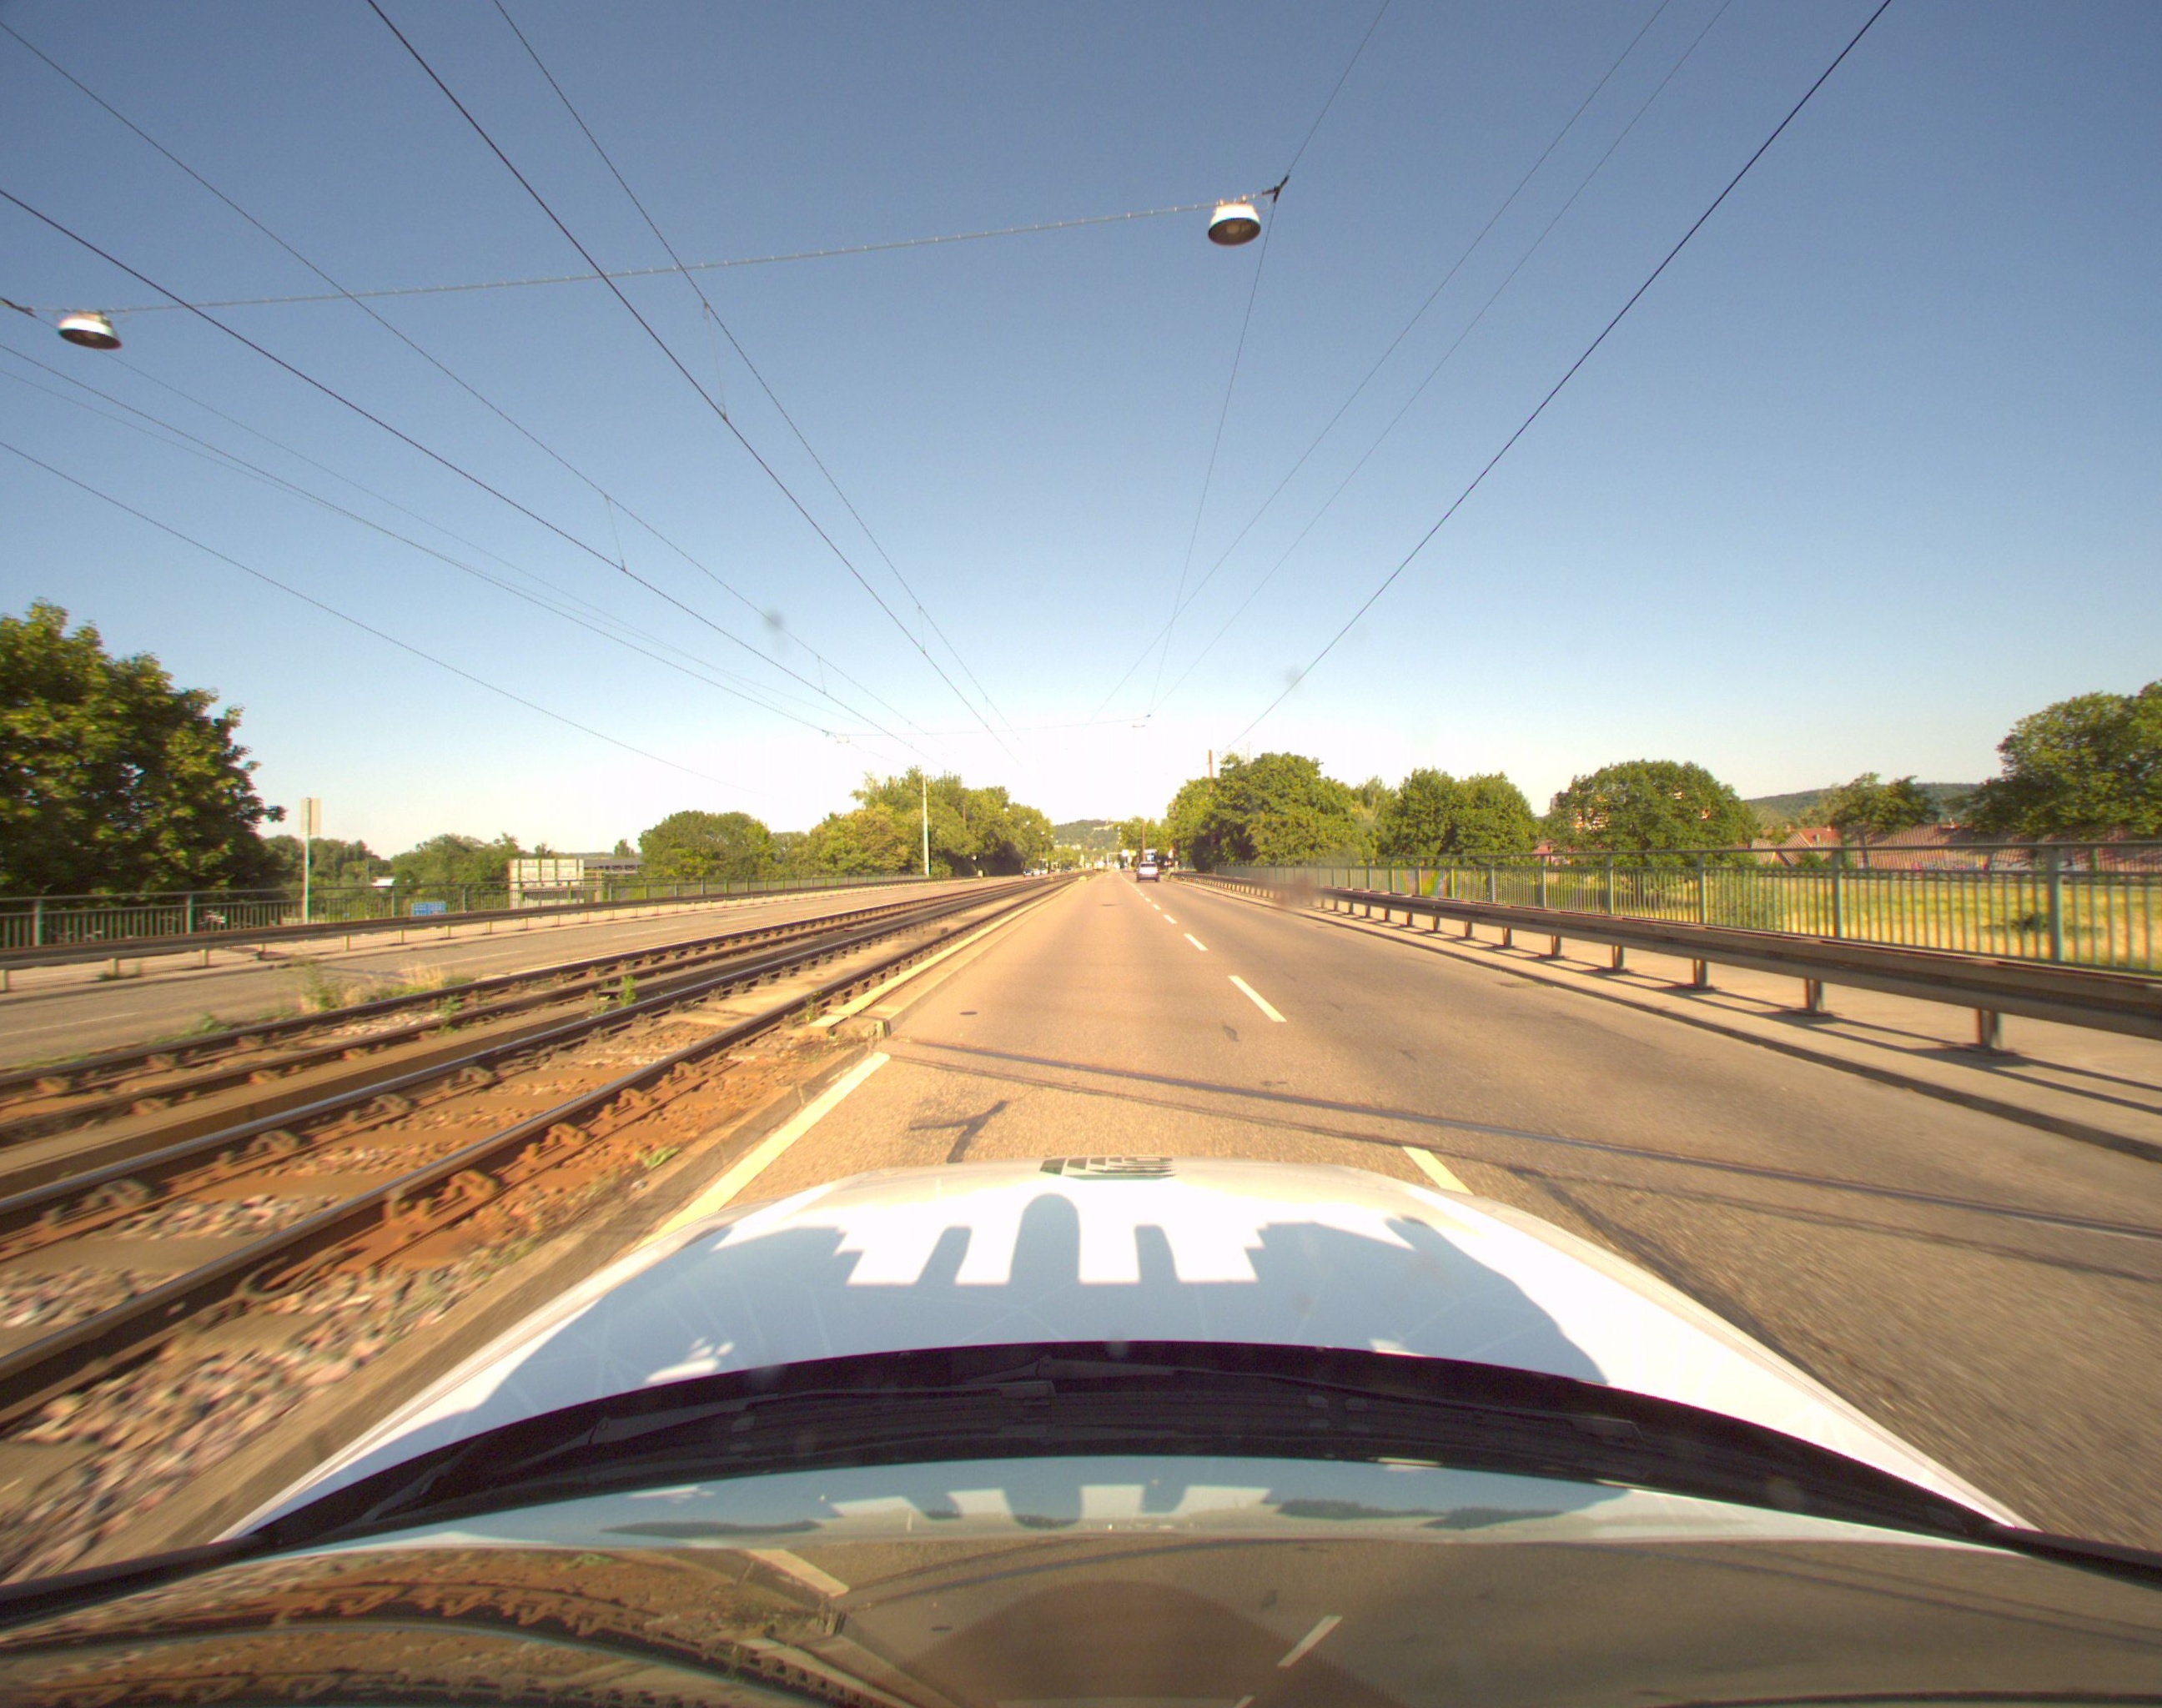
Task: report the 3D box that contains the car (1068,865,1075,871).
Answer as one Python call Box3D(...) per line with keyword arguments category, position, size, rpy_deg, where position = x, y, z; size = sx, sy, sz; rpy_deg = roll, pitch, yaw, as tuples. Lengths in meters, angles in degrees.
Box3D(category="car", position=(-2.774, 3.964, 234.876), size=(1.986, 1.618, 4.001), rpy_deg=(1, -1, 2))

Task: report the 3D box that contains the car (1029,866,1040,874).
Box3D(category="car", position=(-9.779, 3.387, 171.404), size=(1.986, 1.618, 4.001), rpy_deg=(1, -1, 2))

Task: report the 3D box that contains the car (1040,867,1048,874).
Box3D(category="car", position=(-10.272, 4.648, 228.275), size=(1.979, 2.057, 3.947), rpy_deg=(1, -1, 2))

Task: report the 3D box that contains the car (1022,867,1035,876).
Box3D(category="car", position=(-9.528, 3.193, 147.225), size=(1.986, 1.618, 4.001), rpy_deg=(1, -1, 2))

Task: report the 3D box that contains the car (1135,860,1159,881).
Box3D(category="car", position=(5.481, 1.330, 67.605), size=(1.880, 1.693, 4.261), rpy_deg=(-1, -1, 4))
